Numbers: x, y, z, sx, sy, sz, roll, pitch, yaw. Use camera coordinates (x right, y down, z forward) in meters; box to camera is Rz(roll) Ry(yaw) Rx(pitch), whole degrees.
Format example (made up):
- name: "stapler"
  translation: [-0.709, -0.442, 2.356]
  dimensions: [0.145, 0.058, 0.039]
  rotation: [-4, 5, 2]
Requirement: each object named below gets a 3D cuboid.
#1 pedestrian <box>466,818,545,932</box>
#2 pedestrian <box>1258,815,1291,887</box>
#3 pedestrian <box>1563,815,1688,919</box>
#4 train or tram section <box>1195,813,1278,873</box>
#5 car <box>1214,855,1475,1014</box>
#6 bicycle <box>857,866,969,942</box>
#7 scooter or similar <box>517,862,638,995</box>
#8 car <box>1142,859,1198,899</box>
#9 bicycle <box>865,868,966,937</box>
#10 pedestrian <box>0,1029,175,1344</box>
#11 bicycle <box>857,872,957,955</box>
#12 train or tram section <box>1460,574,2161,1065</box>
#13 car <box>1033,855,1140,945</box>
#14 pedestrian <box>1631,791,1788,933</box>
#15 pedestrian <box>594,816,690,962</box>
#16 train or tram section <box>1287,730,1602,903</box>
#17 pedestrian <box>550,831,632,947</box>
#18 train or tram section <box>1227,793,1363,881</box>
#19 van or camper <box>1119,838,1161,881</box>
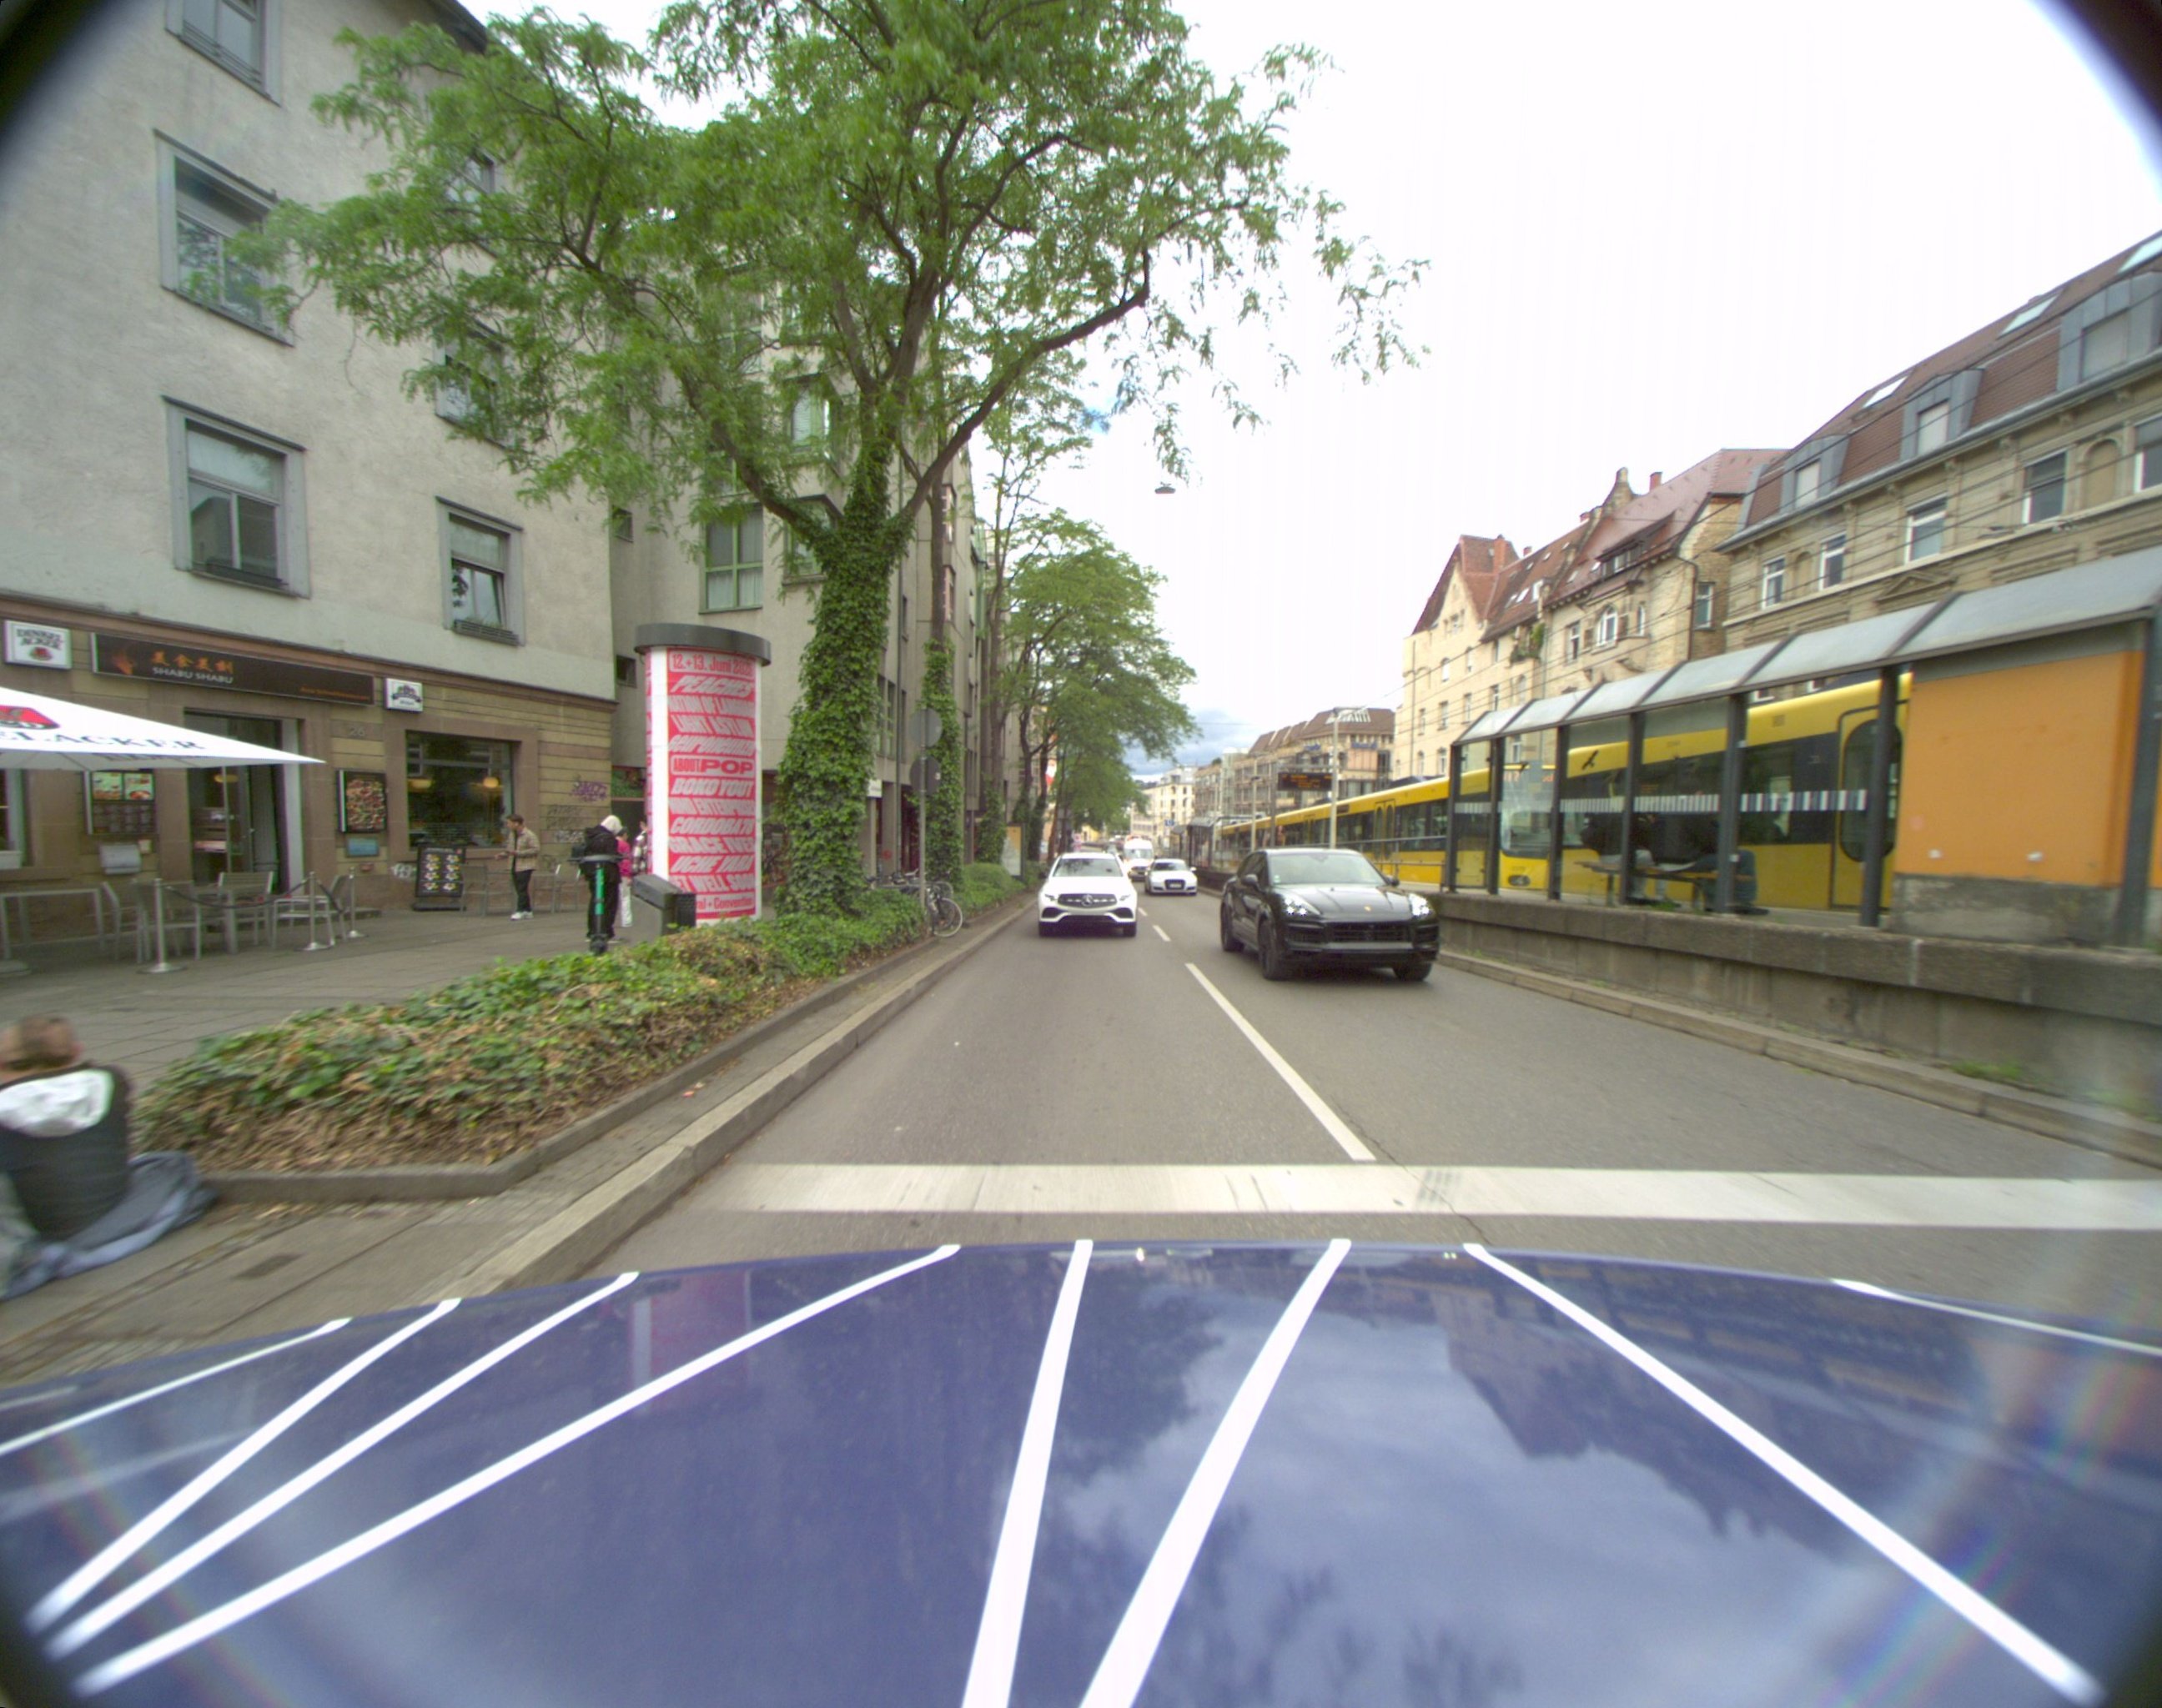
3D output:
- name: "pedestrian"
  translation: [-9.567, 0.340, 12.641]
  dimensions: [0.901, 1.823, 0.737]
  rotation: [0, 0, 29]
- name: "pedestrian"
  translation: [6.194, -0.089, 24.335]
  dimensions: [0.837, 2.271, 0.772]
  rotation: [1, 1, 1]
- name: "pedestrian"
  translation: [6.311, 0.142, 8.849]
  dimensions: [0.852, 1.136, 0.778]
  rotation: [2, 1, 2]
- name: "train or tram section"
  translation: [10.130, -0.648, 51.397]
  dimensions: [2.888, 3.399, 14.231]
  rotation: [-1, 0, 1]
- name: "car"
  translation: [3.201, 0.851, 10.435]
  dimensions: [2.032, 1.675, 4.782]
  rotation: [0, 0, 1]
- name: "bicycle"
  translation: [-2.815, 0.834, 12.828]
  dimensions: [1.745, 1.214, 0.542]
  rotation: [1, 0, -3]
- name: "scooter or similar"
  translation: [-5.383, 0.736, 8.107]
  dimensions: [1.387, 1.247, 0.632]
  rotation: [3, 2, 37]
- name: "car"
  translation: [3.573, 0.975, 31.346]
  dimensions: [1.897, 1.466, 4.531]
  rotation: [0, 0, 1]
- name: "bicycle"
  translation: [-2.949, 0.862, 13.645]
  dimensions: [1.692, 1.214, 0.542]
  rotation: [0, 0, -3]
- name: "pedestrian"
  translation: [-3.729, 1.127, 2.597]
  dimensions: [0.485, 0.905, 0.583]
  rotation: [-1, 3, 4]
- name: "bicycle"
  translation: [-2.692, 0.909, 11.833]
  dimensions: [1.424, 1.214, 0.542]
  rotation: [-1, 1, -3]
- name: "train or tram section"
  translation: [9.412, -0.097, 8.653]
  dimensions: [2.889, 3.641, 14.234]
  rotation: [4, -2, 0]
- name: "car"
  translation: [0.158, 0.829, 16.060]
  dimensions: [1.934, 1.622, 4.773]
  rotation: [0, 0, 1]
- name: "pedestrian"
  translation: [6.175, 0.074, 7.515]
  dimensions: [0.852, 1.298, 0.778]
  rotation: [2, 1, 2]
- name: "pedestrian"
  translation: [-5.905, 0.454, 10.274]
  dimensions: [0.706, 1.879, 0.880]
  rotation: [-1, 1, 7]
- name: "train or tram section"
  translation: [9.530, -0.781, 23.007]
  dimensions: [2.930, 3.537, 14.231]
  rotation: [-1, 0, 1]
- name: "pedestrian"
  translation: [-6.565, 0.457, 10.207]
  dimensions: [0.624, 1.514, 0.664]
  rotation: [-1, 1, 7]
- name: "train or tram section"
  translation: [9.840, -0.659, 37.220]
  dimensions: [2.888, 3.421, 14.231]
  rotation: [-1, 0, 1]
- name: "van or camper"
  translation: [3.676, 0.330, 48.438]
  dimensions: [2.208, 2.543, 6.373]
  rotation: [-1, 0, 1]
